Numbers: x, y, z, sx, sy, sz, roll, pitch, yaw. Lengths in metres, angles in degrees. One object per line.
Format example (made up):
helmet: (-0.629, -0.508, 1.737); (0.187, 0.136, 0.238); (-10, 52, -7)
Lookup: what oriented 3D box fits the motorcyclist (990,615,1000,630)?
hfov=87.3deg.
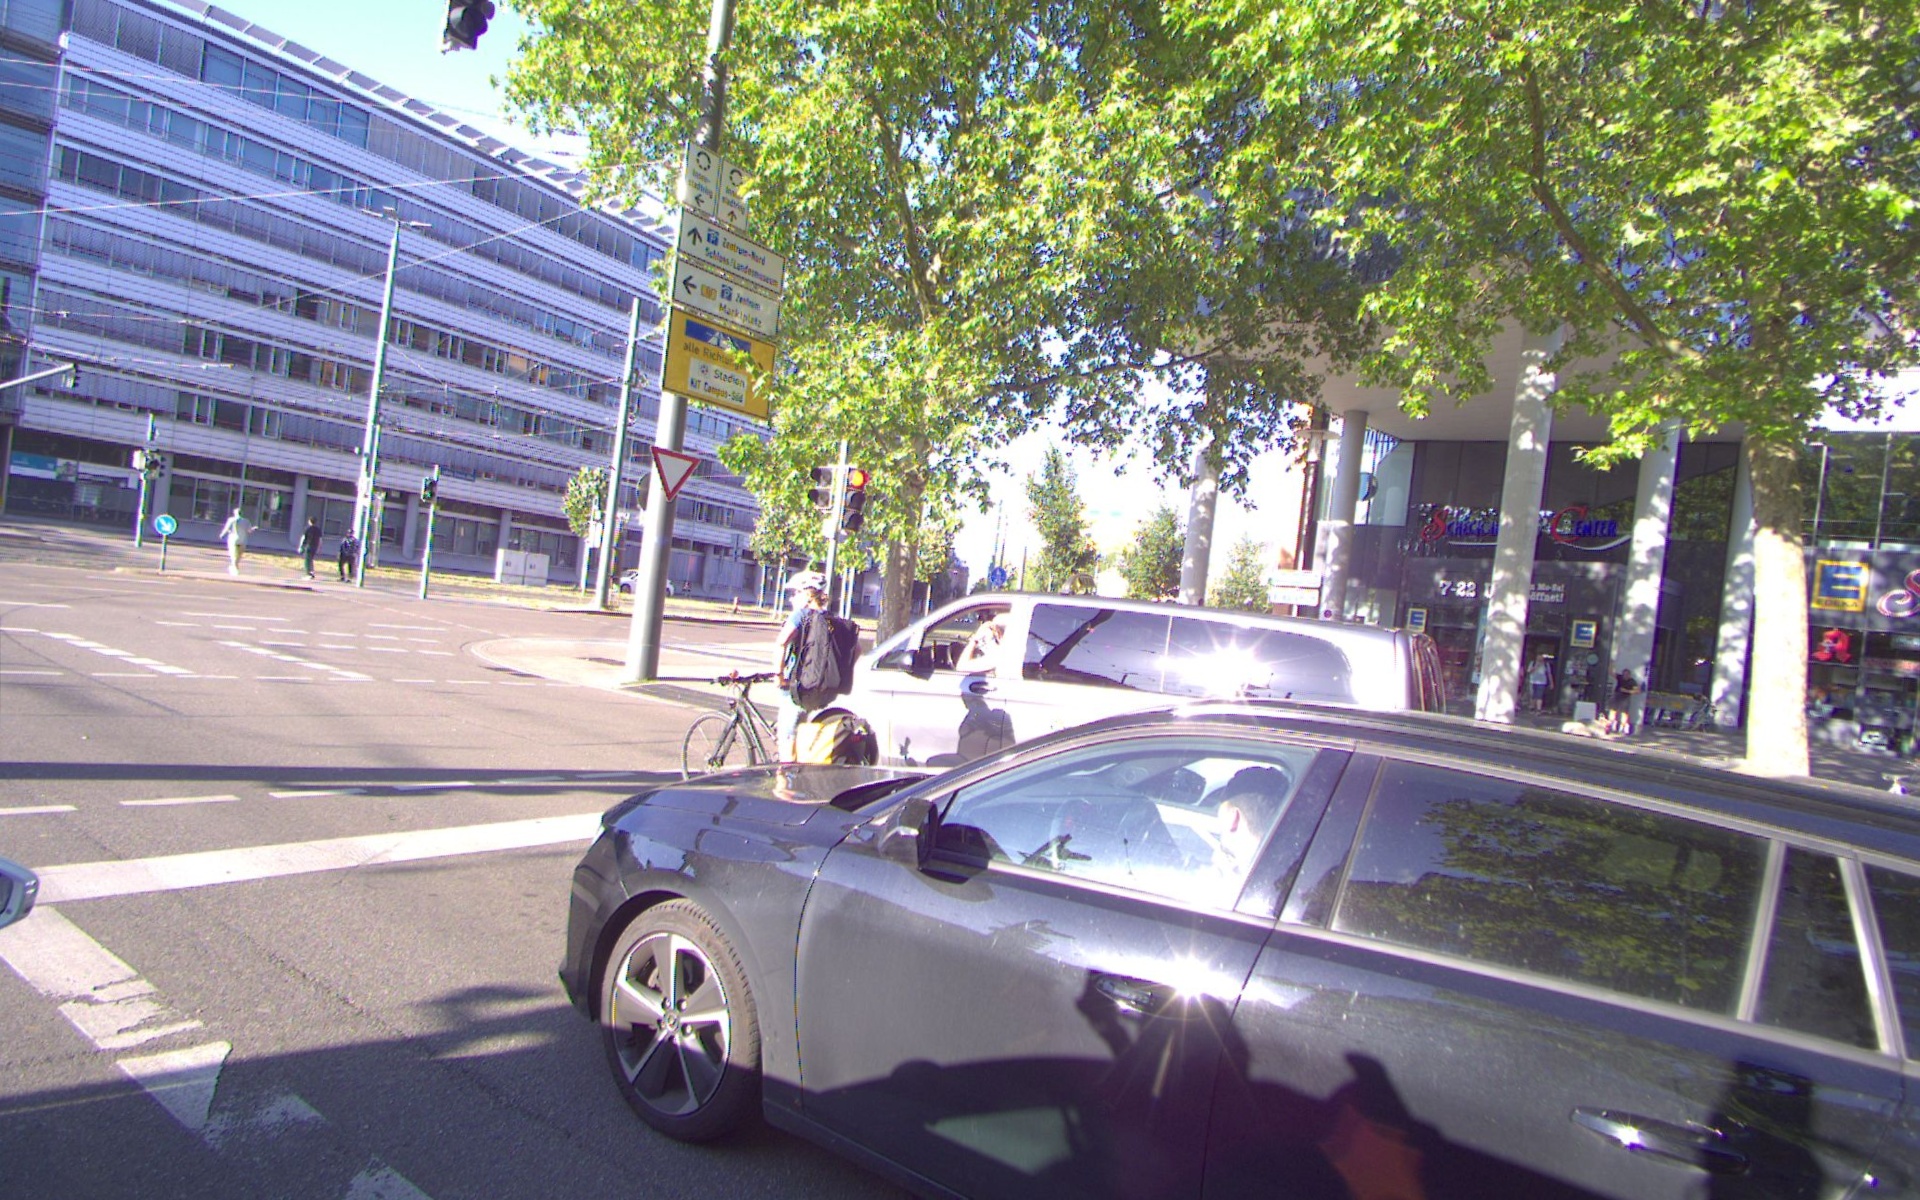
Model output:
motorcyclist: (3.165, 2.038, 90.001); (0.452, 1.291, 0.712); (7, 1, 36)

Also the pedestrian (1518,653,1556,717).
pedestrian: (17.106, 2.528, 29.831); (0.595, 1.805, 0.882); (7, 1, 45)

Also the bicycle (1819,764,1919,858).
bicycle: (11.206, 2.548, 12.086); (0.437, 0.930, 1.210); (6, 0, -39)

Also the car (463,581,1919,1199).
car: (0.766, 0.945, 2.759); (4.199, 1.431, 1.742); (7, -2, 32)

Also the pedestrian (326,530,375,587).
pedestrian: (-18.878, -1.285, 31.159); (0.883, 1.583, 0.947); (7, 1, 39)

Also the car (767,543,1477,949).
car: (1.109, 0.844, 7.952); (5.012, 2.004, 1.939); (7, 0, 31)

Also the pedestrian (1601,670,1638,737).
pedestrian: (17.564, 2.750, 26.796); (0.598, 1.707, 0.511); (6, 1, -41)

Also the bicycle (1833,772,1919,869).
bicycle: (10.547, 2.482, 11.100); (1.233, 0.898, 0.462); (7, 1, 32)

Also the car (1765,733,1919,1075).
car: (6.565, 1.741, 4.580); (4.181, 1.503, 1.741); (7, 0, 31)

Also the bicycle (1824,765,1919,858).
bicycle: (11.503, 2.610, 12.358); (0.460, 0.938, 1.210); (6, 0, -39)

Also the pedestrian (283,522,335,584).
pedestrian: (-19.655, -1.424, 30.391); (1.020, 1.706, 0.912); (7, 1, 39)

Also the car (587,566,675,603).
car: (-17.905, -0.829, 54.921); (1.734, 1.506, 4.295); (7, 0, 37)

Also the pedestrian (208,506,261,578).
pedestrian: (-19.925, -1.587, 27.631); (0.859, 1.811, 0.863); (7, 1, 39)

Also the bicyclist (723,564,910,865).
bicyclist: (-0.904, 0.688, 6.369); (0.766, 1.714, 0.632); (7, 1, 32)

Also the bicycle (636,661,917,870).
bicycle: (-1.244, 1.025, 6.635); (1.839, 0.993, 0.561); (7, 1, 32)

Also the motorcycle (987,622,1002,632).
motorcycle: (3.129, 2.429, 90.010); (0.460, 0.820, 1.568); (7, 0, 36)
